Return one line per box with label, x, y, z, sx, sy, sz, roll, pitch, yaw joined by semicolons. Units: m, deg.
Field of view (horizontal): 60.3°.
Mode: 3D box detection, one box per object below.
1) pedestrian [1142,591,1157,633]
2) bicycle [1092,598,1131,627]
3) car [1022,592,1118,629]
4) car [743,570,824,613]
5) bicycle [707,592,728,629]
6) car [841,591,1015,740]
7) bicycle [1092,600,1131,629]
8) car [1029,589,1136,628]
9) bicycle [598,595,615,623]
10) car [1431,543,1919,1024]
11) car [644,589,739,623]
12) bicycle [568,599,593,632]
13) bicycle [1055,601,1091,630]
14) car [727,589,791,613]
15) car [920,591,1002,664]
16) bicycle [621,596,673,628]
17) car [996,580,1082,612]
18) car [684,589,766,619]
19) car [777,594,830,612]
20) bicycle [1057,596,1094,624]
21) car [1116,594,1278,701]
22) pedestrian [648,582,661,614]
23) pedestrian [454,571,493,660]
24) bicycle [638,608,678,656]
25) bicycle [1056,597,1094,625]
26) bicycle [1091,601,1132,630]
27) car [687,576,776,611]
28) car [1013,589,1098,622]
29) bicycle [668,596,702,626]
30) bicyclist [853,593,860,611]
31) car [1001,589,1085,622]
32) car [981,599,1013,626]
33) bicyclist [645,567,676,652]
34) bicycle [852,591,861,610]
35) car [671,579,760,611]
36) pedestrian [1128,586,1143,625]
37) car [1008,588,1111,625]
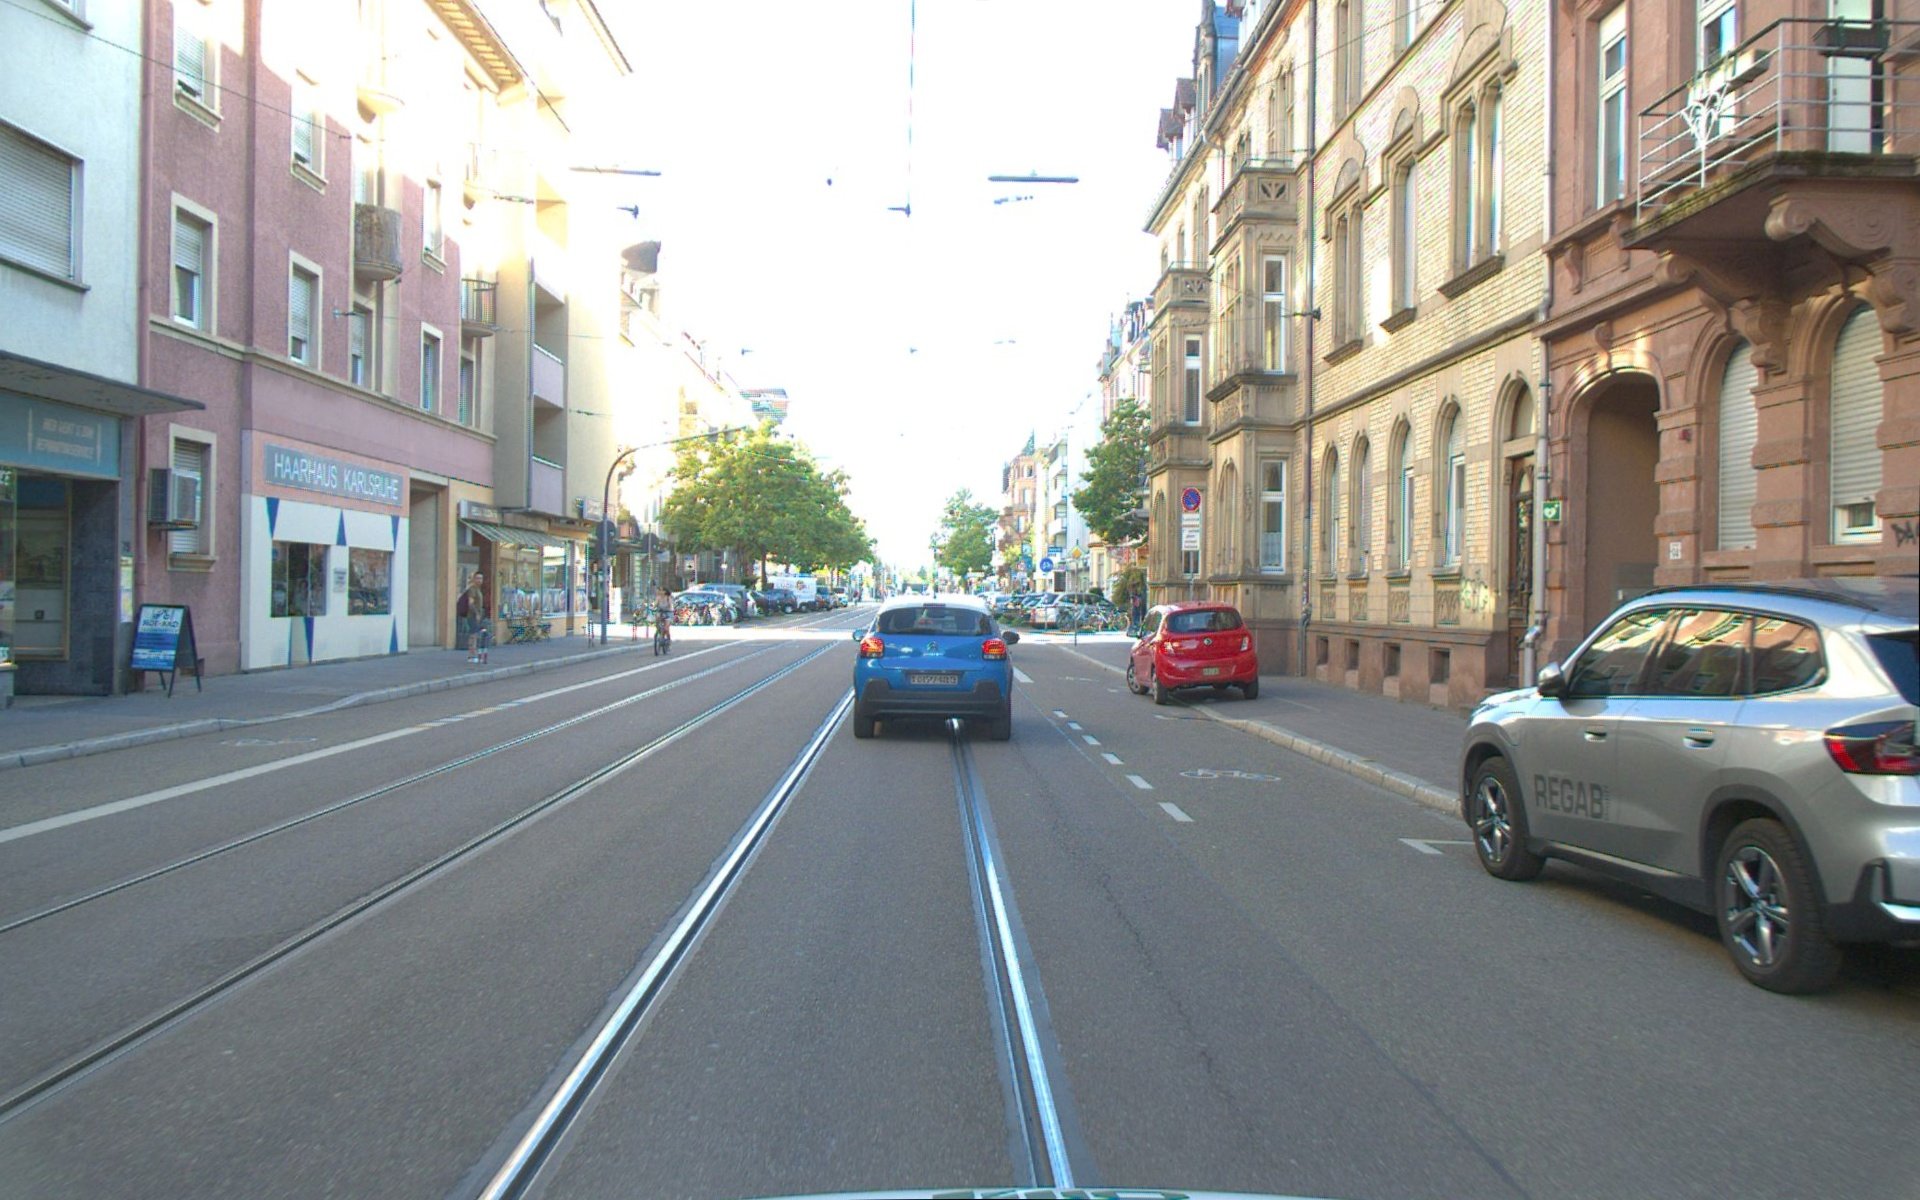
pedestrian;8.242;0.503;72.116;0.507;1.809;0.863;1;0;-1
bicycle;6.087;0.506;66.271;1.523;1.147;0.552;1;0;5
car;4.990;0.473;75.211;3.937;1.563;1.903;1;0;-26
car;-12.256;-0.578;114.883;5.316;2.797;1.787;1;0;-31
bicycle;-9.839;0.413;67.149;0.668;1.342;2.433;1;2;-5
car;-0.365;0.666;18.504;1.727;1.466;3.555;1;0;-2
bicycle;6.131;0.576;66.846;1.523;1.147;0.528;1;0;5
car;5.346;0.374;71.987;4.297;1.624;1.838;1;0;-26
bicycle;-14.287;0.356;66.827;0.397;1.129;1.825;0;0;-22
car;4.004;0.658;8.038;1.829;1.675;4.396;1;0;-5
car;-11.840;0.252;72.999;3.746;1.424;1.734;1;0;-34
bicycle;-14.188;0.566;61.869;0.668;1.128;2.432;1;2;-8
bicycle;4.557;0.616;66.624;1.370;1.147;0.551;1;0;-6
car;-13.242;0.069;108.794;3.924;1.515;1.797;1;0;-18
car;0.004;0.630;39.652;1.835;1.624;3.999;1;0;-1
bicycle;-12.567;0.473;66.363;2.390;1.128;0.680;3;3;39
car;4.319;-0.212;90.331;4.249;1.624;1.966;1;0;-26
car;-11.964;0.186;84.350;3.786;1.455;1.750;1;0;-27
car;-11.901;0.205;125.598;3.752;1.287;1.503;1;0;-27
bicycle;4.791;0.414;68.653;1.527;1.147;0.295;1;0;5
car;3.704;0.703;26.618;1.828;1.508;4.400;-2;0;-2
pedestrian;-16.127;-0.102;87.286;0.557;1.681;0.641;1;0;-1
pedestrian;-9.503;0.304;32.315;0.552;1.715;0.616;1;0;-3
bicycle;-7.346;0.770;40.343;0.590;1.115;2.044;-2;0;-1
bicycle;4.755;0.453;68.314;1.523;1.098;0.307;1;0;5
bicycle;6.198;0.632;67.521;1.639;1.147;0.552;1;0;5
car;-12.283;-0.341;89.094;4.314;1.814;1.973;1;0;-34
car;4.898;0.293;84.963;3.937;1.624;1.943;1;0;-26
bicycle;-11.156;0.434;67.019;0.675;1.143;1.867;0;3;-32
bicyclist;-9.852;0.178;157.942;0.621;1.711;0.726;1;0;-1
car;4.420;0.290;87.997;3.937;1.624;2.070;1;0;-26
car;2.279;0.765;102.680;1.835;1.624;4.718;1;0;-1
bicyclist;-7.327;0.223;40.504;0.599;2.049;0.733;1;0;-1
bicycle;-9.873;0.054;157.919;0.666;1.708;2.096;1;0;-1
car;-11.995;-0.262;81.249;3.970;1.475;1.679;1;0;-34
pedestrian;7.644;0.238;72.021;0.507;1.677;0.863;1;0;-1
car;4.659;0.292;77.697;4.379;1.624;2.071;1;0;-26
